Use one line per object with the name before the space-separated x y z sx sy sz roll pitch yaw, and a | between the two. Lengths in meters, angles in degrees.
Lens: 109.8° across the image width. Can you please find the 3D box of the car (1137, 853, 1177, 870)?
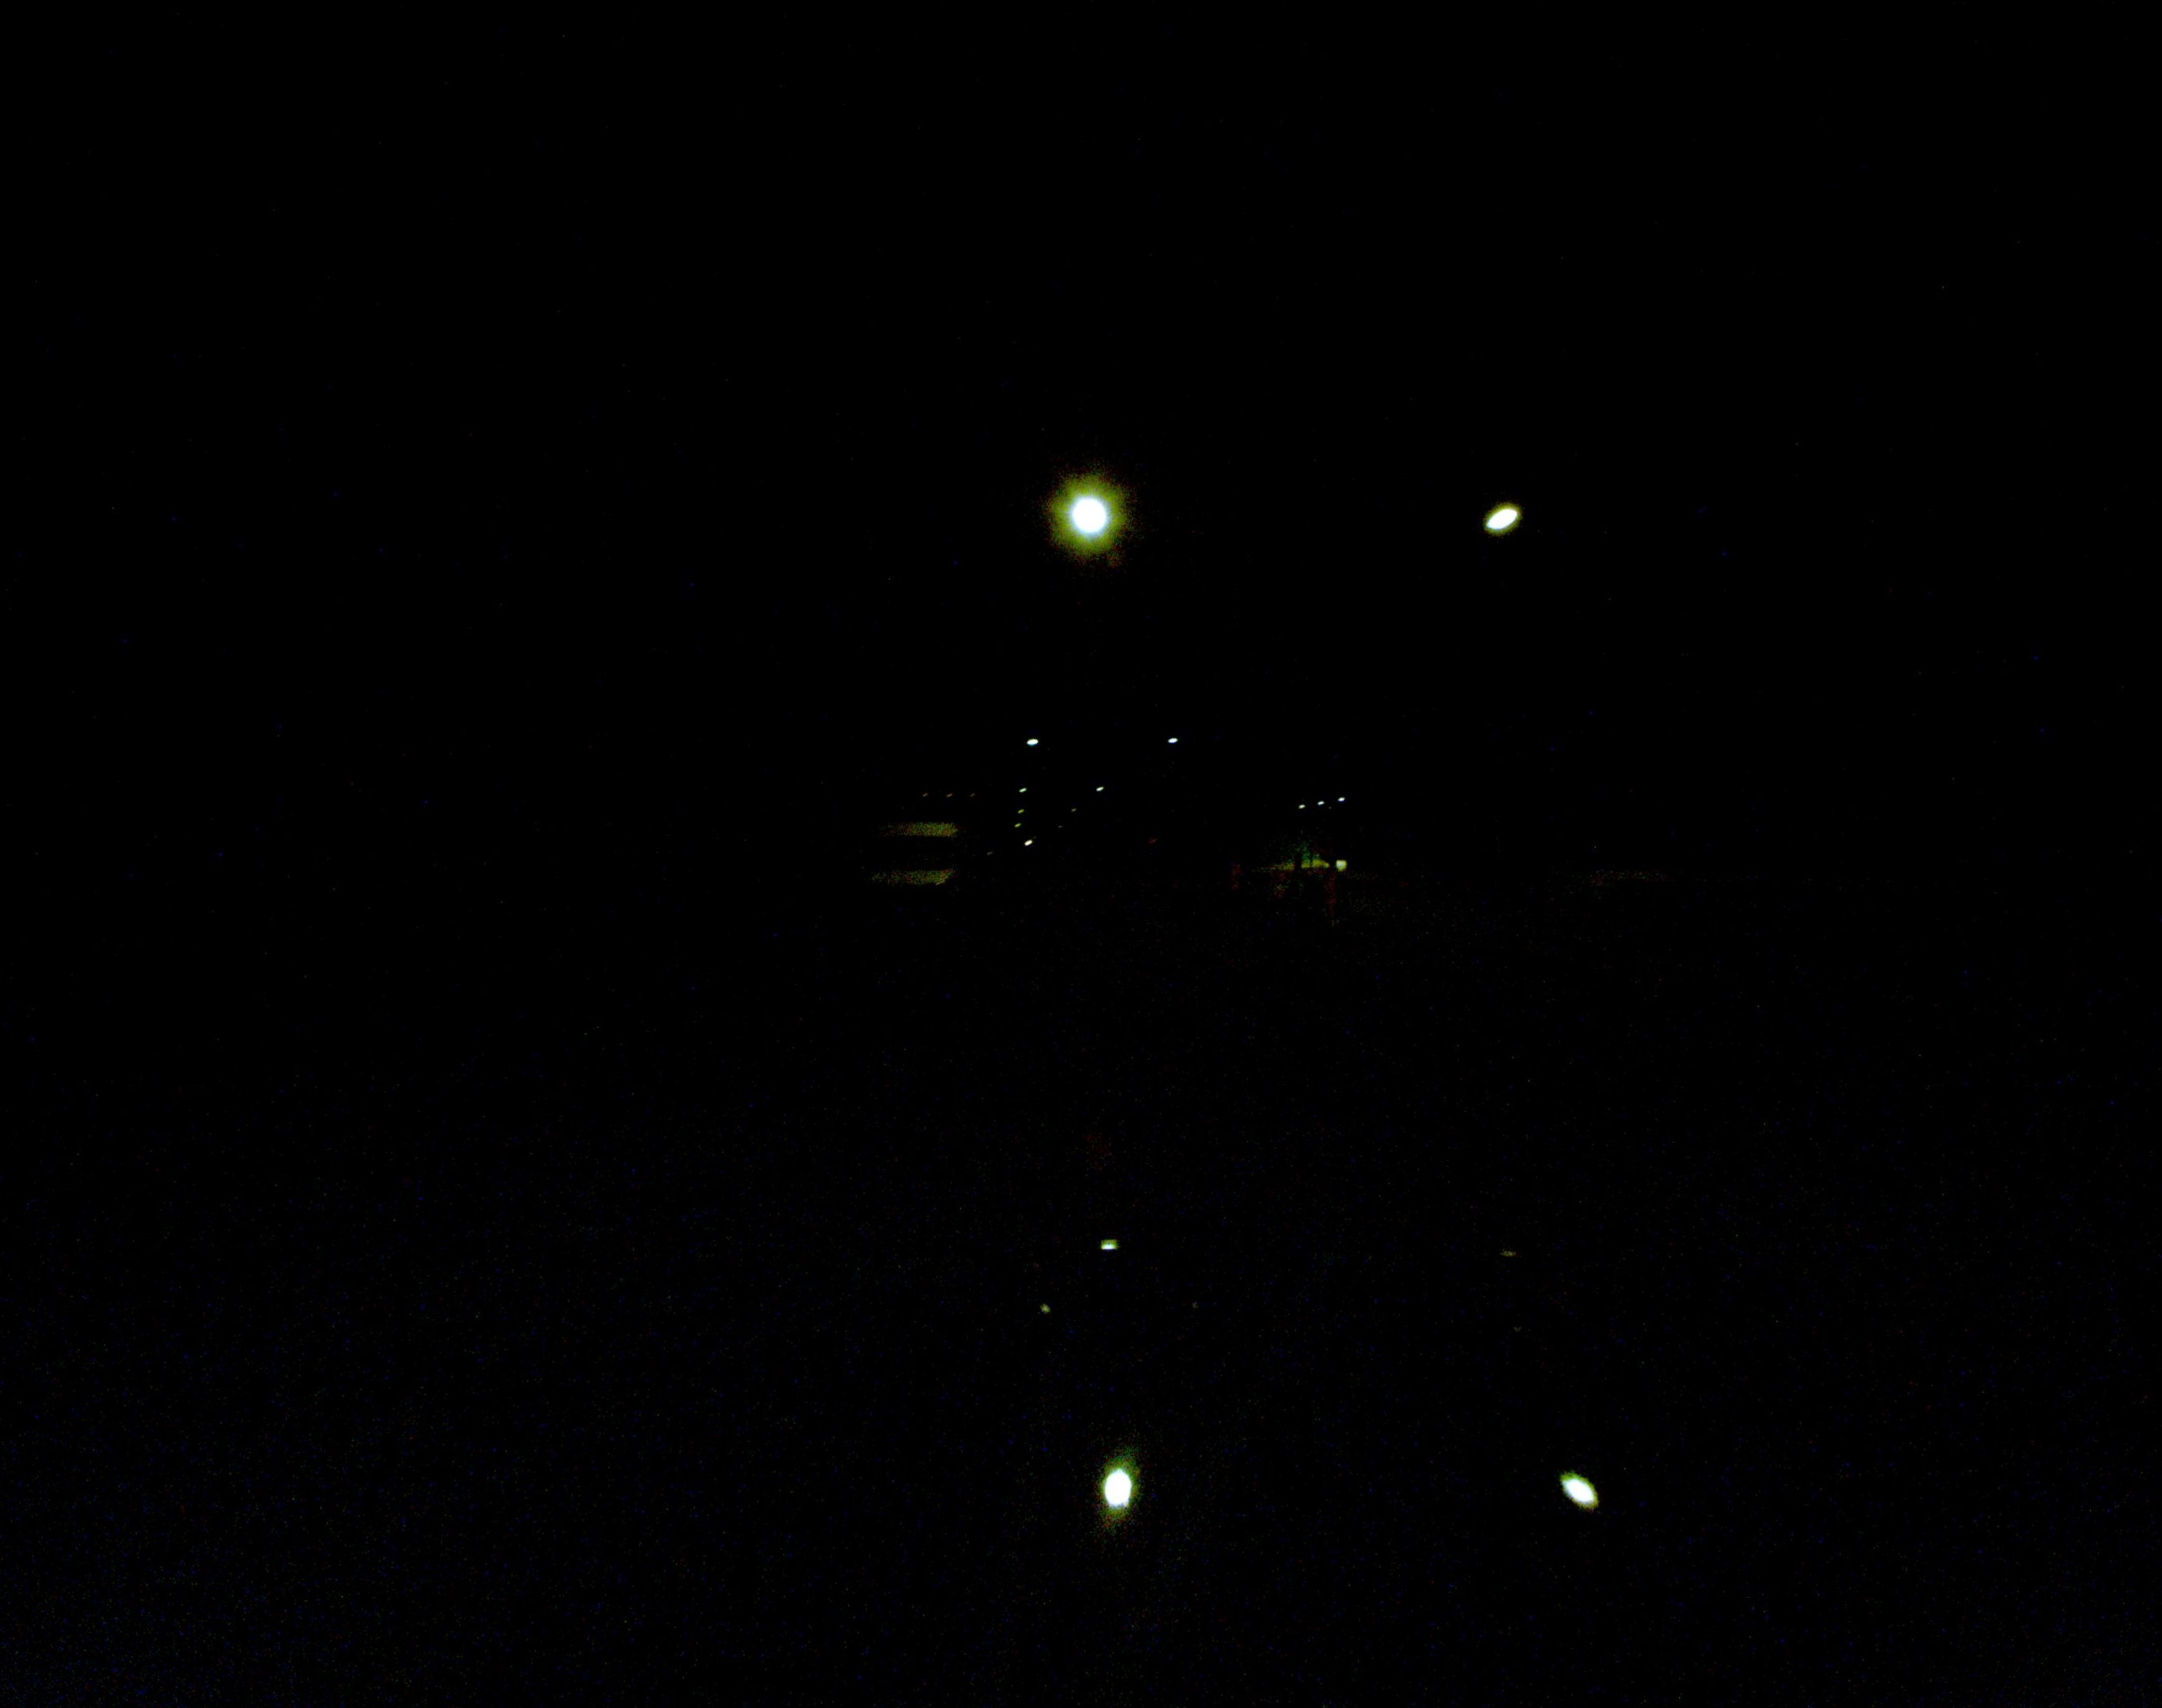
car | 9.044 0.913 91.058 4.445 1.960 1.999 -2 0 -6

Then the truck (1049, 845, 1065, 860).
truck | -6.052 -0.229 191.581 2.831 3.610 10.394 -1 0 -9

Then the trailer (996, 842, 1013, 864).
trailer | -11.928 -0.068 118.606 2.406 3.306 4.359 -1 0 -8

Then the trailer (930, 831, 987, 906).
trailer | -4.362 0.496 27.641 1.637 2.459 5.025 -1 0 -5

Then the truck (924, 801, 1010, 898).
truck | -5.038 -0.208 35.348 3.334 3.846 9.322 -1 0 -5

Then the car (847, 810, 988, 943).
car | -3.537 0.458 17.803 2.114 2.501 6.370 -1 0 -2

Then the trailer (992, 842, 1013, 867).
trailer | -8.644 0.065 83.851 1.999 2.635 3.999 -1 0 -2

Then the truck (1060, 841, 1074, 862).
truck | -3.075 -0.550 163.869 2.645 4.289 12.819 1 0 -3

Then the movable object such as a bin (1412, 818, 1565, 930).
movable object such as a bin | 9.708 0.429 18.292 1.555 2.453 2.833 0 1 -26
